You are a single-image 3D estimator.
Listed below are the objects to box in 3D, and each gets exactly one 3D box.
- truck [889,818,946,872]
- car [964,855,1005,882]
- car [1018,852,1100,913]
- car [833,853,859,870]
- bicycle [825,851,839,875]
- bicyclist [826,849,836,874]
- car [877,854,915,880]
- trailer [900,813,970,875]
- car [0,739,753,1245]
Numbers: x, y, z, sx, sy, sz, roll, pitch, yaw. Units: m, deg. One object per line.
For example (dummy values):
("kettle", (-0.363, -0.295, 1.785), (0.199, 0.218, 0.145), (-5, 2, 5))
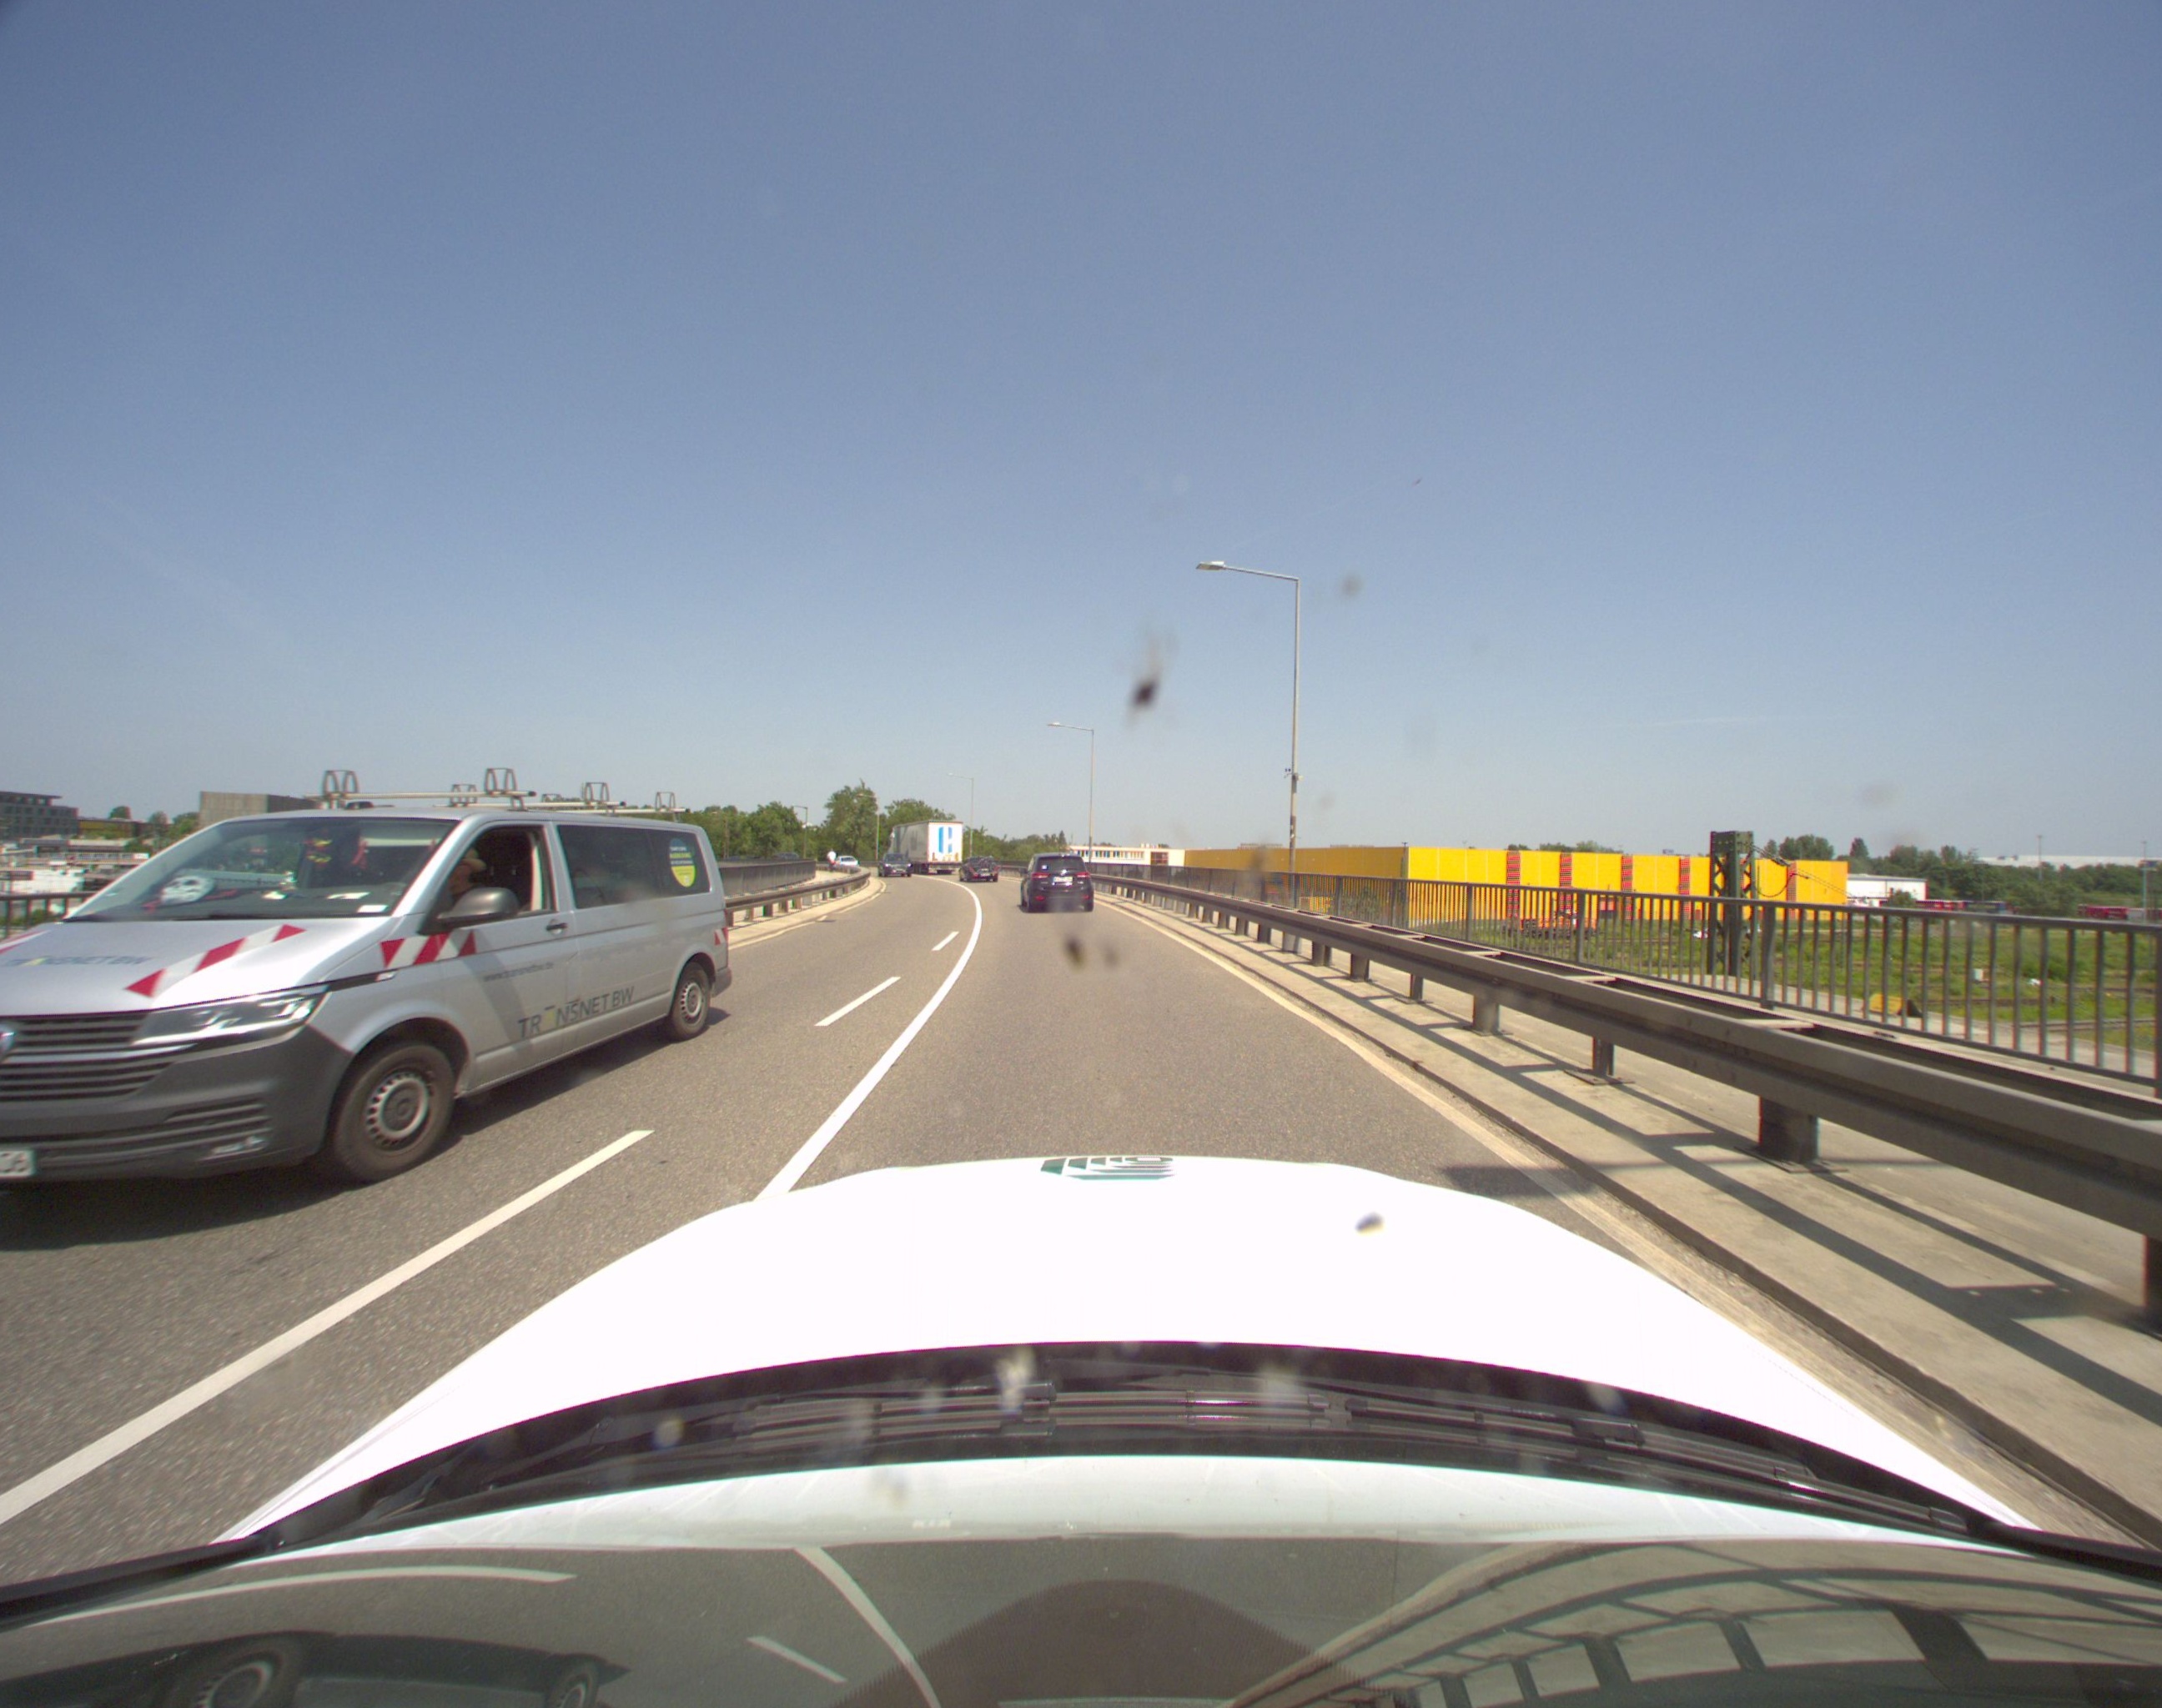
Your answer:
("truck", (-14.309, -0.774, 70.774), (3.588, 4.441, 6.465), (0, 0, -23))
("car", (-5.397, 0.782, 45.102), (2.012, 1.429, 3.762), (0, 0, -11))
("car", (-0.713, 0.728, 23.076), (1.920, 1.574, 3.880), (0, 0, -8))
("car", (-21.287, 0.680, 73.807), (1.673, 1.464, 3.456), (0, 0, -26))
("bicycle", (-18.641, 0.644, 60.967), (0.701, 1.801, 2.163), (0, 0, -24))
("bicyclist", (-18.625, 0.540, 60.755), (0.627, 1.886, 0.706), (0, 0, -25))
("car", (-12.930, 0.866, 56.716), (1.850, 1.636, 4.200), (-1, 0, -23))
("trailer", (-11.767, -0.748, 64.317), (3.582, 4.384, 11.364), (0, 0, -20))
("car", (-4.231, 0.554, 5.654), (1.854, 2.000, 4.814), (-1, 0, 1))
